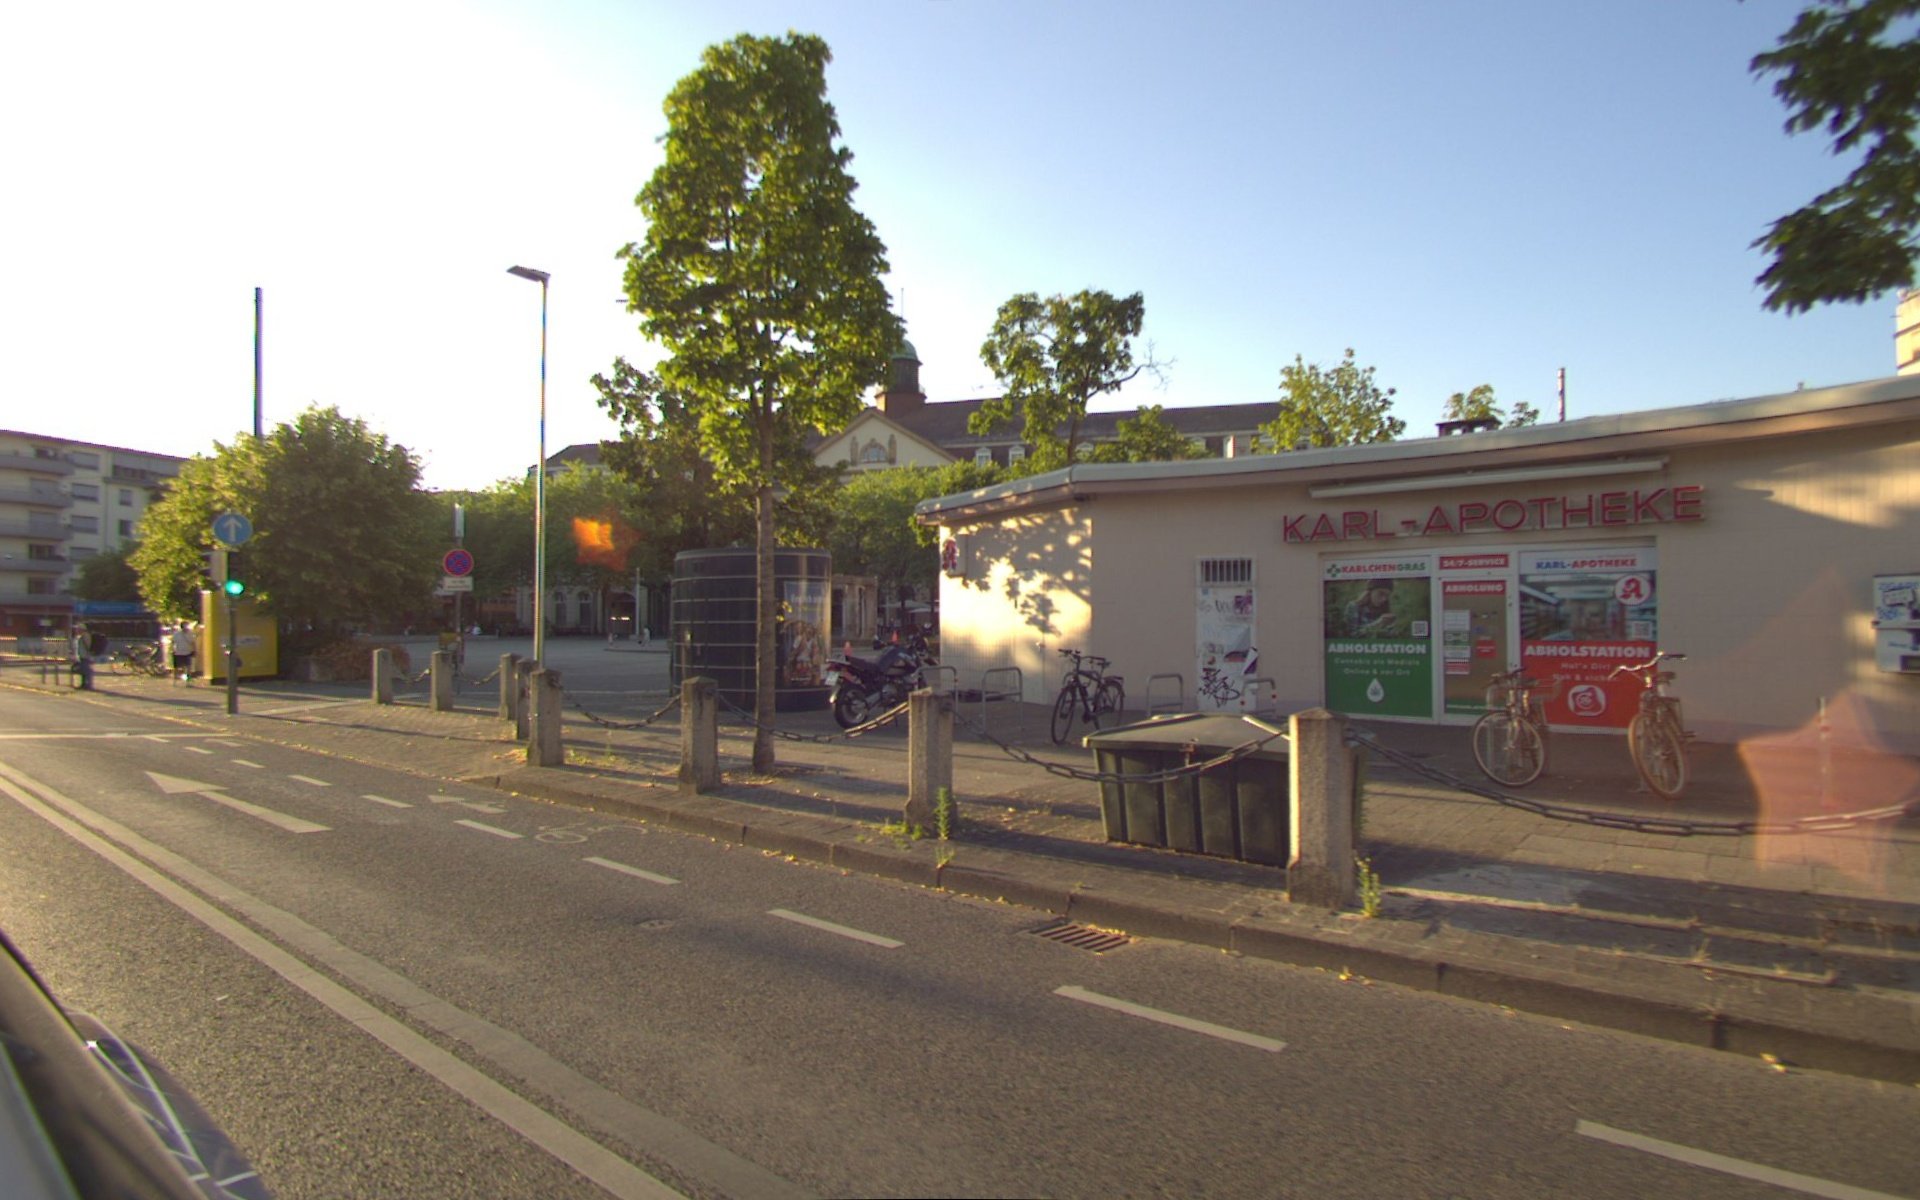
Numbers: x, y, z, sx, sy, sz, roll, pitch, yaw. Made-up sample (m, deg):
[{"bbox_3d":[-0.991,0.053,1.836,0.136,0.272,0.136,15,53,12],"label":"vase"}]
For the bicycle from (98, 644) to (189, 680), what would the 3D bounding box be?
[{"bbox_3d":[-27.649,2.088,34.312,2.366,1.079,0.673,0,0,-44],"label":"bicycle"}]

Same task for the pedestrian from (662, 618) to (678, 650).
[{"bbox_3d":[-15.424,1.810,53.789,0.666,1.689,0.553,-1,0,7],"label":"pedestrian"}]

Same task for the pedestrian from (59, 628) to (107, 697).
[{"bbox_3d":[-22.268,1.567,25.713,0.892,1.689,0.781,0,-1,-39],"label":"pedestrian"}]

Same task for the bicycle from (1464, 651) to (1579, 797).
[{"bbox_3d":[5.227,1.063,9.349,0.777,1.096,2.197,-1,-1,33],"label":"bicycle"}]

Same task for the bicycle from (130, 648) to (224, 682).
[{"bbox_3d":[-25.367,2.077,32.816,2.366,0.966,0.673,0,0,-44],"label":"bicycle"}]

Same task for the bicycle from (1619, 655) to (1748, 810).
[{"bbox_3d":[6.161,1.052,8.724,0.777,1.096,2.172,-1,-2,33],"label":"bicycle"}]

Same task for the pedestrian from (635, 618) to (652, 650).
[{"bbox_3d":[-17.005,1.822,54.360,0.672,1.689,0.610,-1,0,5],"label":"pedestrian"}]

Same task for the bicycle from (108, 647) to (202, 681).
[{"bbox_3d":[-26.409,2.090,33.231,2.366,0.966,0.673,0,0,-44],"label":"bicycle"}]

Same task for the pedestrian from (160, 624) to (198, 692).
[{"bbox_3d":[-20.188,1.471,26.166,0.767,1.689,0.909,0,-1,-37],"label":"pedestrian"}]

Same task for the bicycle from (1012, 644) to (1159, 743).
[{"bbox_3d":[1.593,1.103,12.475,0.779,1.096,2.154,-1,-2,39],"label":"bicycle"}]

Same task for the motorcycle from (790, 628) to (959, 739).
[{"bbox_3d":[-1.153,1.116,14.232,0.780,1.376,2.417,-3,-2,44],"label":"motorcycle"}]
